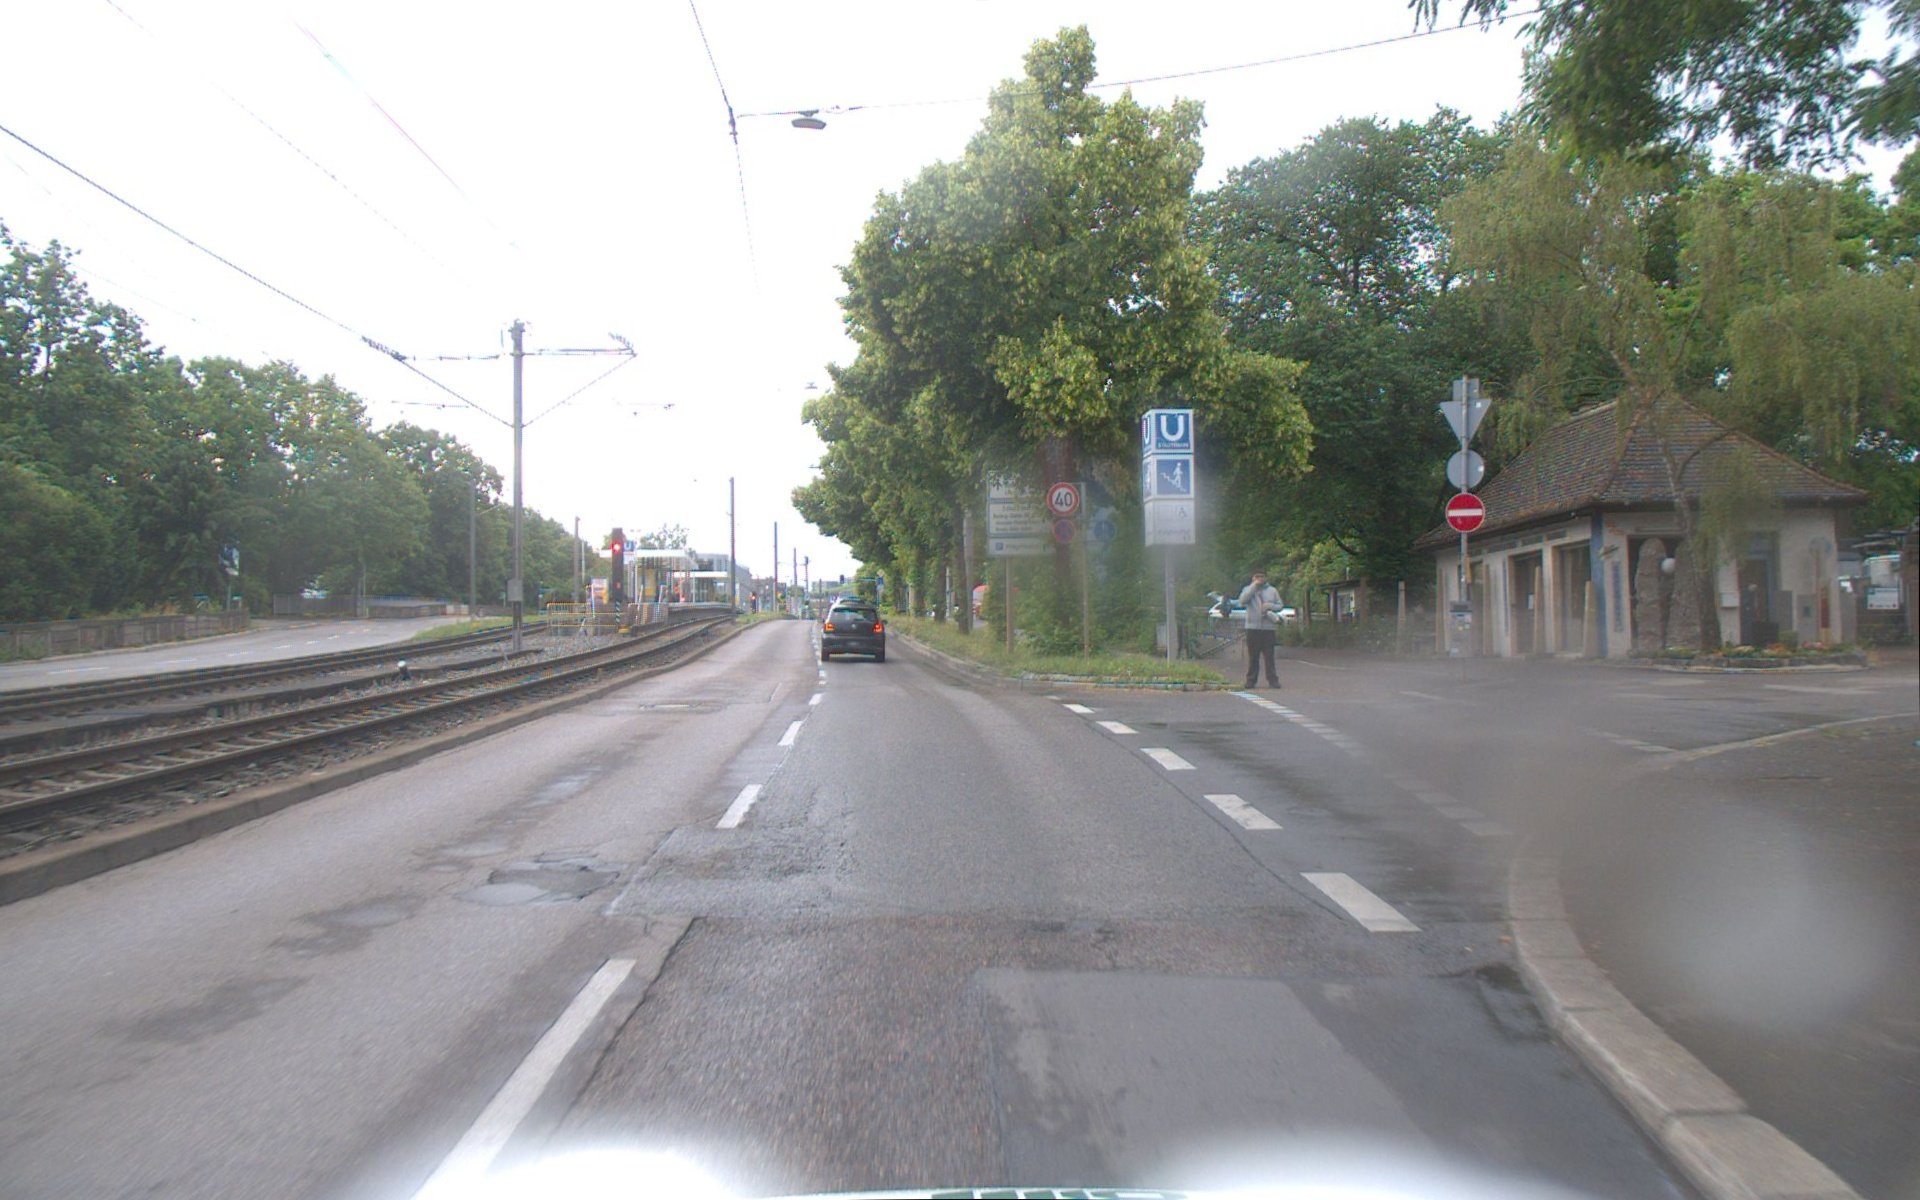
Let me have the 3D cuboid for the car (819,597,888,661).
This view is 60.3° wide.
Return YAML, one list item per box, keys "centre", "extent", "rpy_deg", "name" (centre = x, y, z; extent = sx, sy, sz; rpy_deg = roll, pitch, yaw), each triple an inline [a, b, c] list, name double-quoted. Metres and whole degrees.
- centre: [-2.780, 0.713, 43.033]
  extent: [1.693, 1.567, 3.997]
  rpy_deg: [0, 0, -4]
  name: "car"

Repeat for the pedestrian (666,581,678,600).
- centre: [-19.339, -0.639, 111.072]
  extent: [0.696, 1.247, 0.619]
  rpy_deg: [0, -1, -4]
  name: "pedestrian"

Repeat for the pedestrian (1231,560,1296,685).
- centre: [4.624, 0.339, 25.243]
  extent: [0.837, 1.886, 0.737]
  rpy_deg: [0, 0, -1]
  name: "pedestrian"

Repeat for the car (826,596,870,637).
- centre: [-4.417, 0.619, 64.920]
  extent: [1.654, 1.544, 3.996]
  rpy_deg: [0, 0, -5]
  name: "car"

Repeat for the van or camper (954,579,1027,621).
- centre: [2.070, -0.006, 111.064]
  extent: [2.003, 2.448, 5.366]
  rpy_deg: [4, -1, 38]
  name: "van or camper"

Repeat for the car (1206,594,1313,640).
- centre: [13.420, 0.754, 74.312]
  extent: [1.932, 1.866, 4.394]
  rpy_deg: [2, 0, -45]
  name: "car"

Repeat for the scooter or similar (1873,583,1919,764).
- centre: [6.907, 0.503, 11.392]
  extent: [0.503, 1.252, 1.315]
  rpy_deg: [-4, -1, 4]
  name: "scooter or similar"

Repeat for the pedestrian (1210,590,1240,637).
- centre: [11.787, 0.599, 73.584]
  extent: [0.949, 2.049, 0.942]
  rpy_deg: [1, 0, -28]
  name: "pedestrian"

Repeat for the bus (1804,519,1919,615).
- centre: [28.512, -0.955, 50.015]
  extent: [2.206, 2.748, 7.166]
  rpy_deg: [0, 0, -1]
  name: "bus"
